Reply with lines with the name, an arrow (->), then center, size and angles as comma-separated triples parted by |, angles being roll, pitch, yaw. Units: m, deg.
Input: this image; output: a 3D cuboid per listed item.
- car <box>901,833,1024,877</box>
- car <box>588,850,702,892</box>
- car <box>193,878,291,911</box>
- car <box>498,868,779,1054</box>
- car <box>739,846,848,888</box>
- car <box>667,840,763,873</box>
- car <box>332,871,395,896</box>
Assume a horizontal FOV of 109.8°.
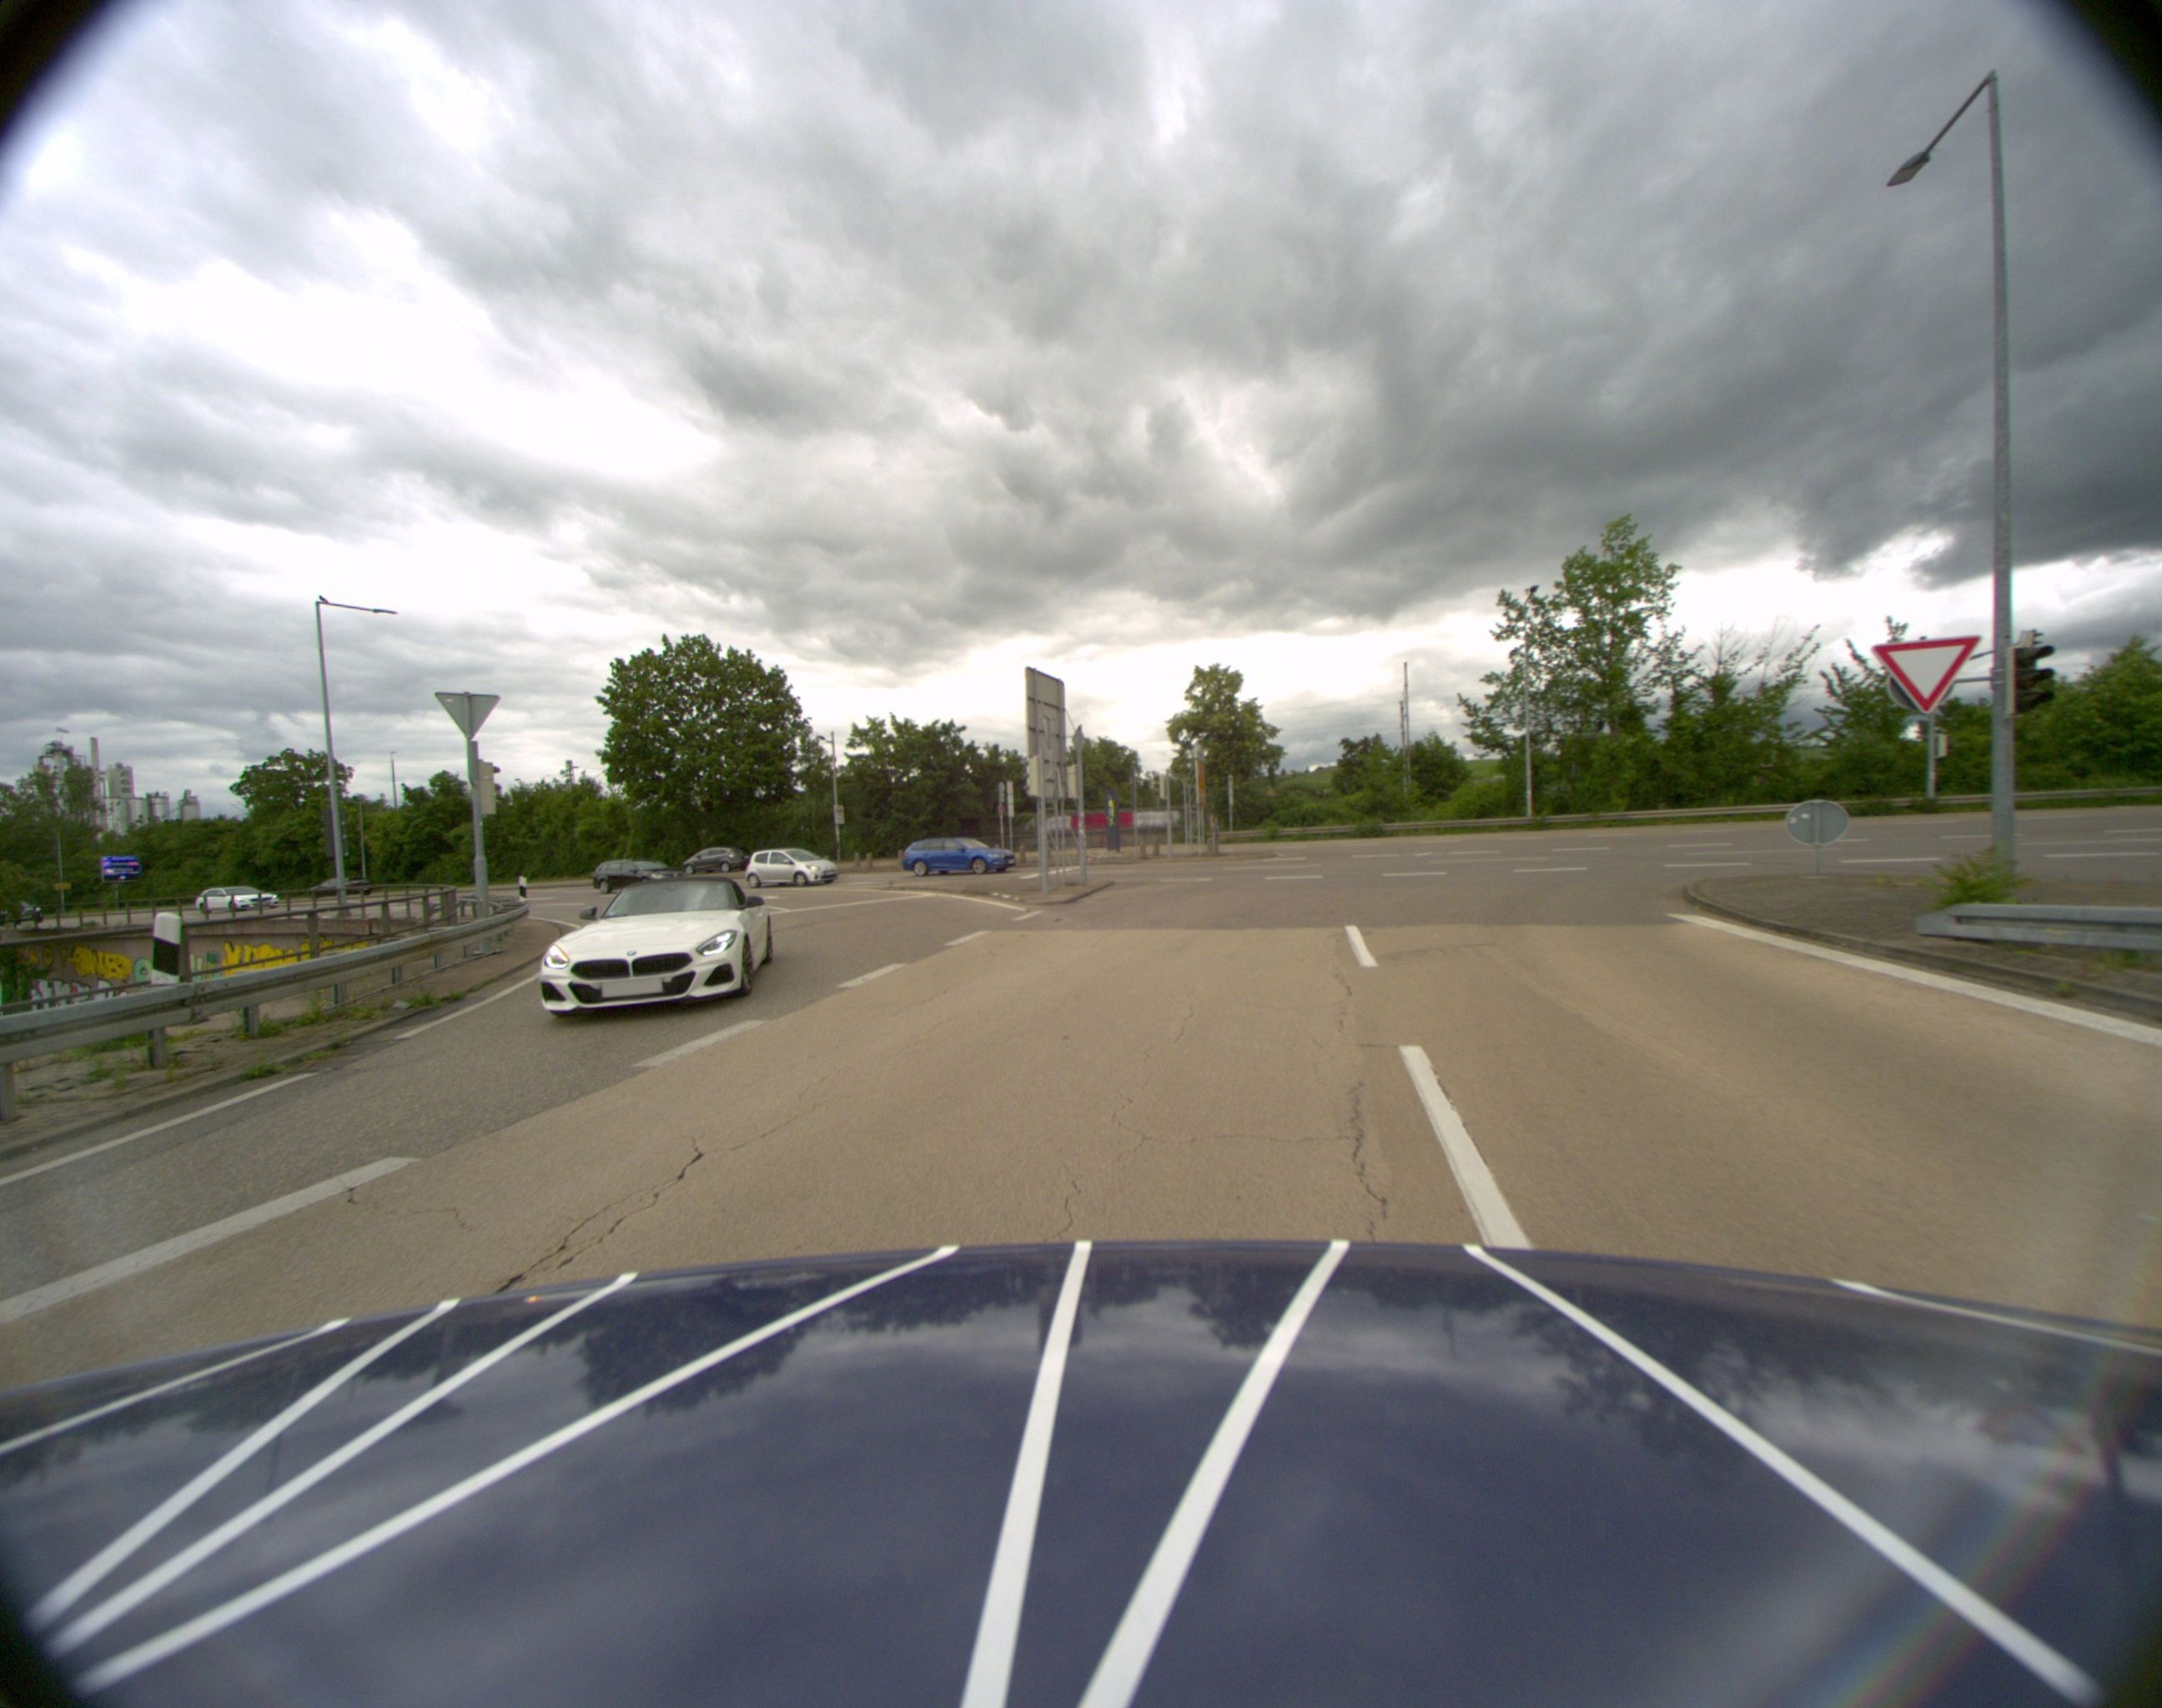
car -> -4.657, 0.040, 29.839 | 4.532, 1.446, 1.612 | -2, 3, 24
car -> -19.176, 0.750, 33.435 | 4.285, 1.548, 1.950 | -3, 3, 21
car -> -48.693, 2.328, 44.121 | 4.706, 1.552, 1.879 | -3, 3, 17
car -> -4.959, 1.007, 9.342 | 1.865, 1.337, 4.816 | -5, 2, -17
car -> -11.153, 0.521, 29.457 | 3.741, 1.366, 1.630 | -3, 3, 22
car -> -23.501, 0.140, 48.820 | 5.481, 1.746, 2.136 | -3, 3, 19
car -> -52.873, 2.159, 55.982 | 3.836, 1.552, 1.651 | -3, 3, 19
